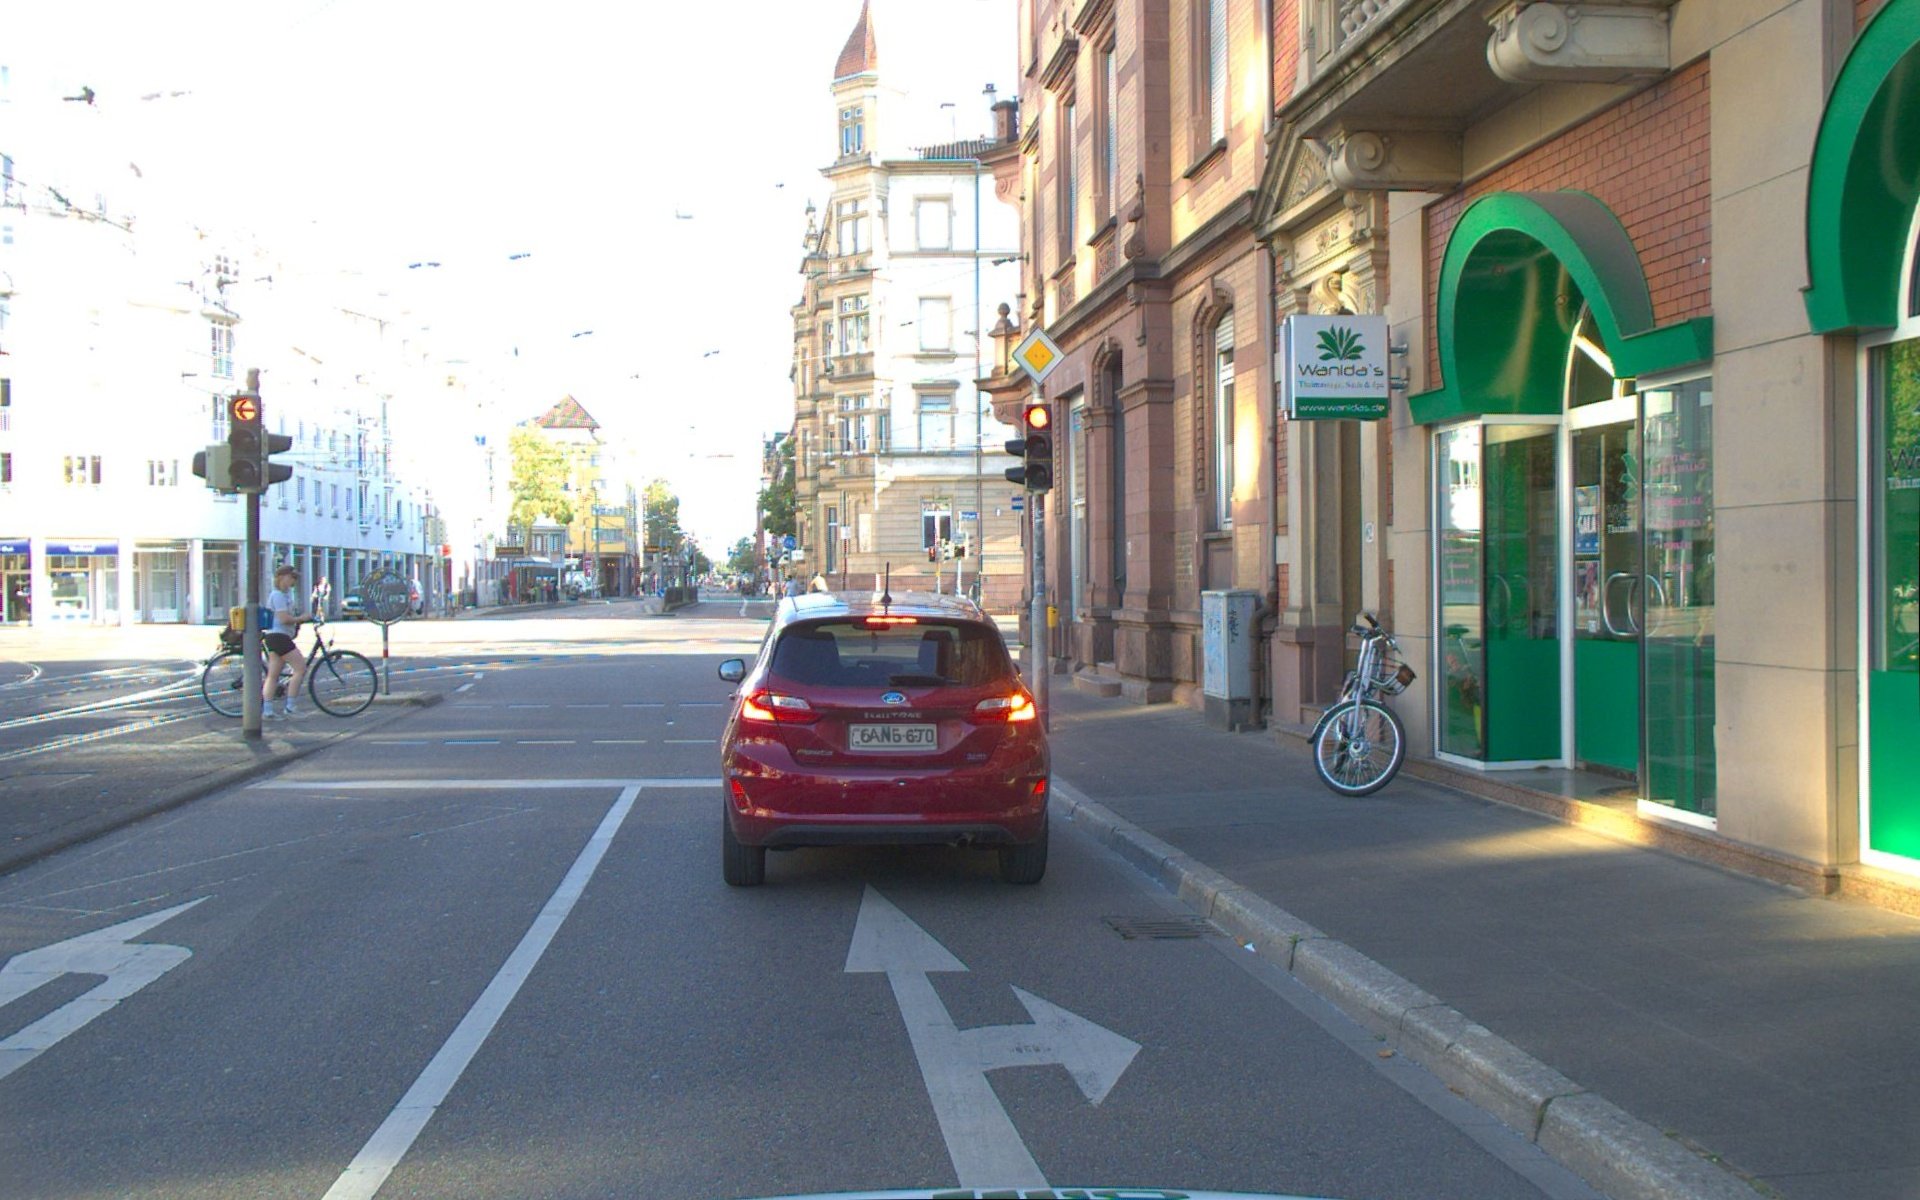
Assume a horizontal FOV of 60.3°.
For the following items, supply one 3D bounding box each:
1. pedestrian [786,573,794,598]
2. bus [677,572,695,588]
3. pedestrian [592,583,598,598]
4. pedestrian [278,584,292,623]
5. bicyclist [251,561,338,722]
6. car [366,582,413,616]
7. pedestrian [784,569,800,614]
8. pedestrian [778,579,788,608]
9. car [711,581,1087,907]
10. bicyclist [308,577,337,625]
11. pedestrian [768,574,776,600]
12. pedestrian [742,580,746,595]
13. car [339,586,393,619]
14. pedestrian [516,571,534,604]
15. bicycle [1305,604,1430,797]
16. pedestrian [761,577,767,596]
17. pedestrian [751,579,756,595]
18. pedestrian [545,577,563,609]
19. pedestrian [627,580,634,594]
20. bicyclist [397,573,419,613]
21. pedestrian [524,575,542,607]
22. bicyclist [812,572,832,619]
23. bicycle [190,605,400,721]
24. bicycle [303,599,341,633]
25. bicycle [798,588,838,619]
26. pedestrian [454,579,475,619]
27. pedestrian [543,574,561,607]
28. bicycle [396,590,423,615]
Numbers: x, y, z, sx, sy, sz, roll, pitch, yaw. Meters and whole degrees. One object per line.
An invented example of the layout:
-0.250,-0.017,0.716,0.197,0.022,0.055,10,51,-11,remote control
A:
-14.147,-1.225,137.361,0.565,2.049,0.630,-1,0,-2,pedestrian
-36.117,-2.688,218.270,1.888,2.049,7.128,-1,1,-6,bus
-37.159,-0.940,168.458,0.514,1.514,0.582,-1,0,-6,pedestrian
-30.208,0.143,74.008,0.515,1.711,0.484,-1,0,-15,pedestrian
-6.992,0.426,17.407,0.717,1.655,0.763,1,0,-13,bicyclist
-30.494,-0.079,88.534,1.669,1.748,3.558,-1,1,-8,car
-7.575,-0.385,74.625,0.639,2.049,0.758,-1,0,-8,pedestrian
-12.439,-0.472,116.404,0.634,2.049,0.682,-1,0,-8,pedestrian
-0.559,0.651,9.675,1.722,1.492,3.937,1,0,-9,car
-23.370,0.028,60.609,0.792,1.756,0.793,-1,0,-8,bicyclist
-14.776,-1.014,129.820,0.565,2.049,0.630,-1,0,-2,pedestrian
-27.019,-1.583,206.930,0.566,1.920,0.668,-1,0,-7,pedestrian
-29.118,0.094,81.142,1.732,1.573,3.456,-1,1,-7,car
-26.947,-0.768,102.491,0.938,2.049,1.047,-1,0,-8,pedestrian
2.773,0.648,11.392,0.700,1.172,1.656,-2,1,11,bicycle
-20.441,-1.420,172.526,0.566,2.049,0.630,-1,0,-7,pedestrian
-25.307,-1.614,202.690,0.566,1.920,0.630,-1,0,-7,pedestrian
-26.319,-0.428,107.248,1.026,2.049,0.957,-1,0,-10,pedestrian
-39.358,-1.550,197.611,0.620,1.632,0.575,-1,0,-24,pedestrian
-26.052,-0.320,78.081,0.792,1.853,0.992,-1,0,-8,bicyclist
-27.482,-0.601,106.387,1.026,2.049,0.957,-1,0,-10,pedestrian
-5.124,-0.167,61.464,0.534,1.705,0.500,-1,0,33,bicyclist
-7.067,0.659,17.657,1.983,1.198,0.626,1,0,-13,bicycle
-23.358,0.579,60.573,0.792,1.167,2.046,-1,1,-8,bicycle
-5.278,0.137,61.564,1.455,1.108,0.526,-1,1,33,bicycle
-22.439,-0.048,74.904,0.753,1.761,0.572,-1,0,-6,pedestrian
-25.850,-0.582,104.751,1.026,2.049,0.957,-1,0,-10,pedestrian
-26.080,0.111,78.354,0.792,1.167,2.007,-1,1,-7,bicycle
